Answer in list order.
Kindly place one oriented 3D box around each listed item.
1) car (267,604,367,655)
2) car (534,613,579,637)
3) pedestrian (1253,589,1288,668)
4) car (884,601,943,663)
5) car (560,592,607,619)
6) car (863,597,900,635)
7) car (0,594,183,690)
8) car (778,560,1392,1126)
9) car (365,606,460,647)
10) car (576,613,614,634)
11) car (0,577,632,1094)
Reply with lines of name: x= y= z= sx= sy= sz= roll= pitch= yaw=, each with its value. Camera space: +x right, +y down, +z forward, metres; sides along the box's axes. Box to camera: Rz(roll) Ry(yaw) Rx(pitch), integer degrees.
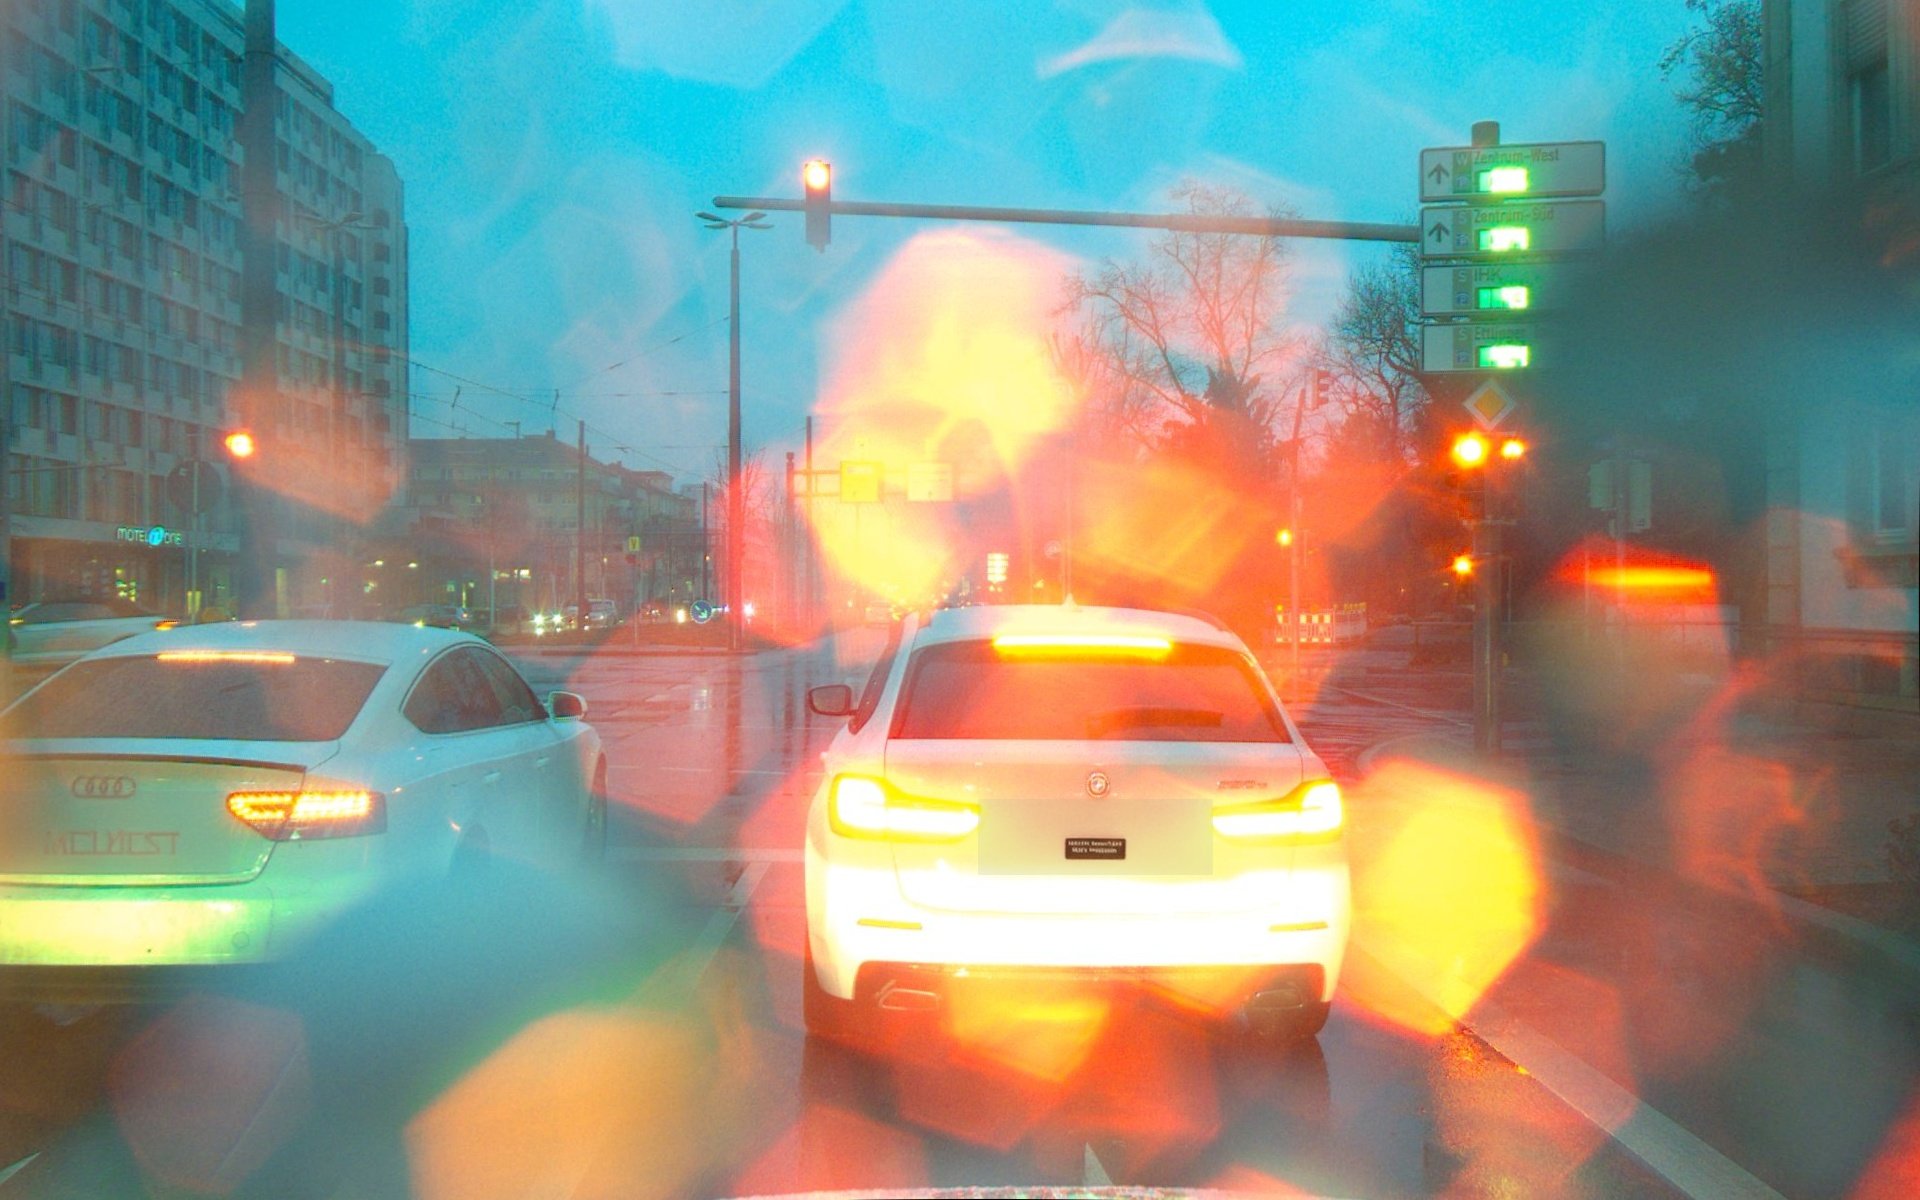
car: x=-24.055 y=1.080 z=62.076 sx=1.842 sy=1.821 sz=4.599 roll=1 pitch=0 yaw=1
car: x=-27.345 y=1.684 z=112.171 sx=1.954 sy=1.487 sz=5.092 roll=1 pitch=0 yaw=-3
pedestrian: x=7.628 y=0.686 z=40.673 sx=0.698 sy=1.912 sz=0.675 roll=1 pitch=-1 yaw=-2
car: x=-1.578 y=1.077 z=57.181 sx=1.953 sy=2.049 sz=3.999 roll=1 pitch=0 yaw=-1
car: x=-22.146 y=0.323 z=97.562 sx=1.954 sy=1.487 sz=5.090 roll=1 pitch=0 yaw=-5
car: x=-4.447 y=0.905 z=94.488 sx=1.953 sy=2.049 sz=3.999 roll=1 pitch=0 yaw=-1
car: x=-16.790 y=0.760 z=30.755 sx=4.010 sy=1.716 sz=1.948 roll=1 pitch=0 yaw=-20
car: x=0.261 y=0.702 z=6.800 sx=1.724 sy=1.580 sz=4.249 roll=1 pitch=0 yaw=-3
car: x=-20.907 y=0.996 z=63.359 sx=1.953 sy=1.487 sz=5.094 roll=1 pitch=0 yaw=-1
car: x=-27.592 y=1.739 z=125.234 sx=1.954 sy=1.487 sz=5.092 roll=1 pitch=0 yaw=-3
car: x=-2.577 y=0.695 z=6.929 sx=1.724 sy=1.495 sz=4.249 roll=1 pitch=0 yaw=-3
